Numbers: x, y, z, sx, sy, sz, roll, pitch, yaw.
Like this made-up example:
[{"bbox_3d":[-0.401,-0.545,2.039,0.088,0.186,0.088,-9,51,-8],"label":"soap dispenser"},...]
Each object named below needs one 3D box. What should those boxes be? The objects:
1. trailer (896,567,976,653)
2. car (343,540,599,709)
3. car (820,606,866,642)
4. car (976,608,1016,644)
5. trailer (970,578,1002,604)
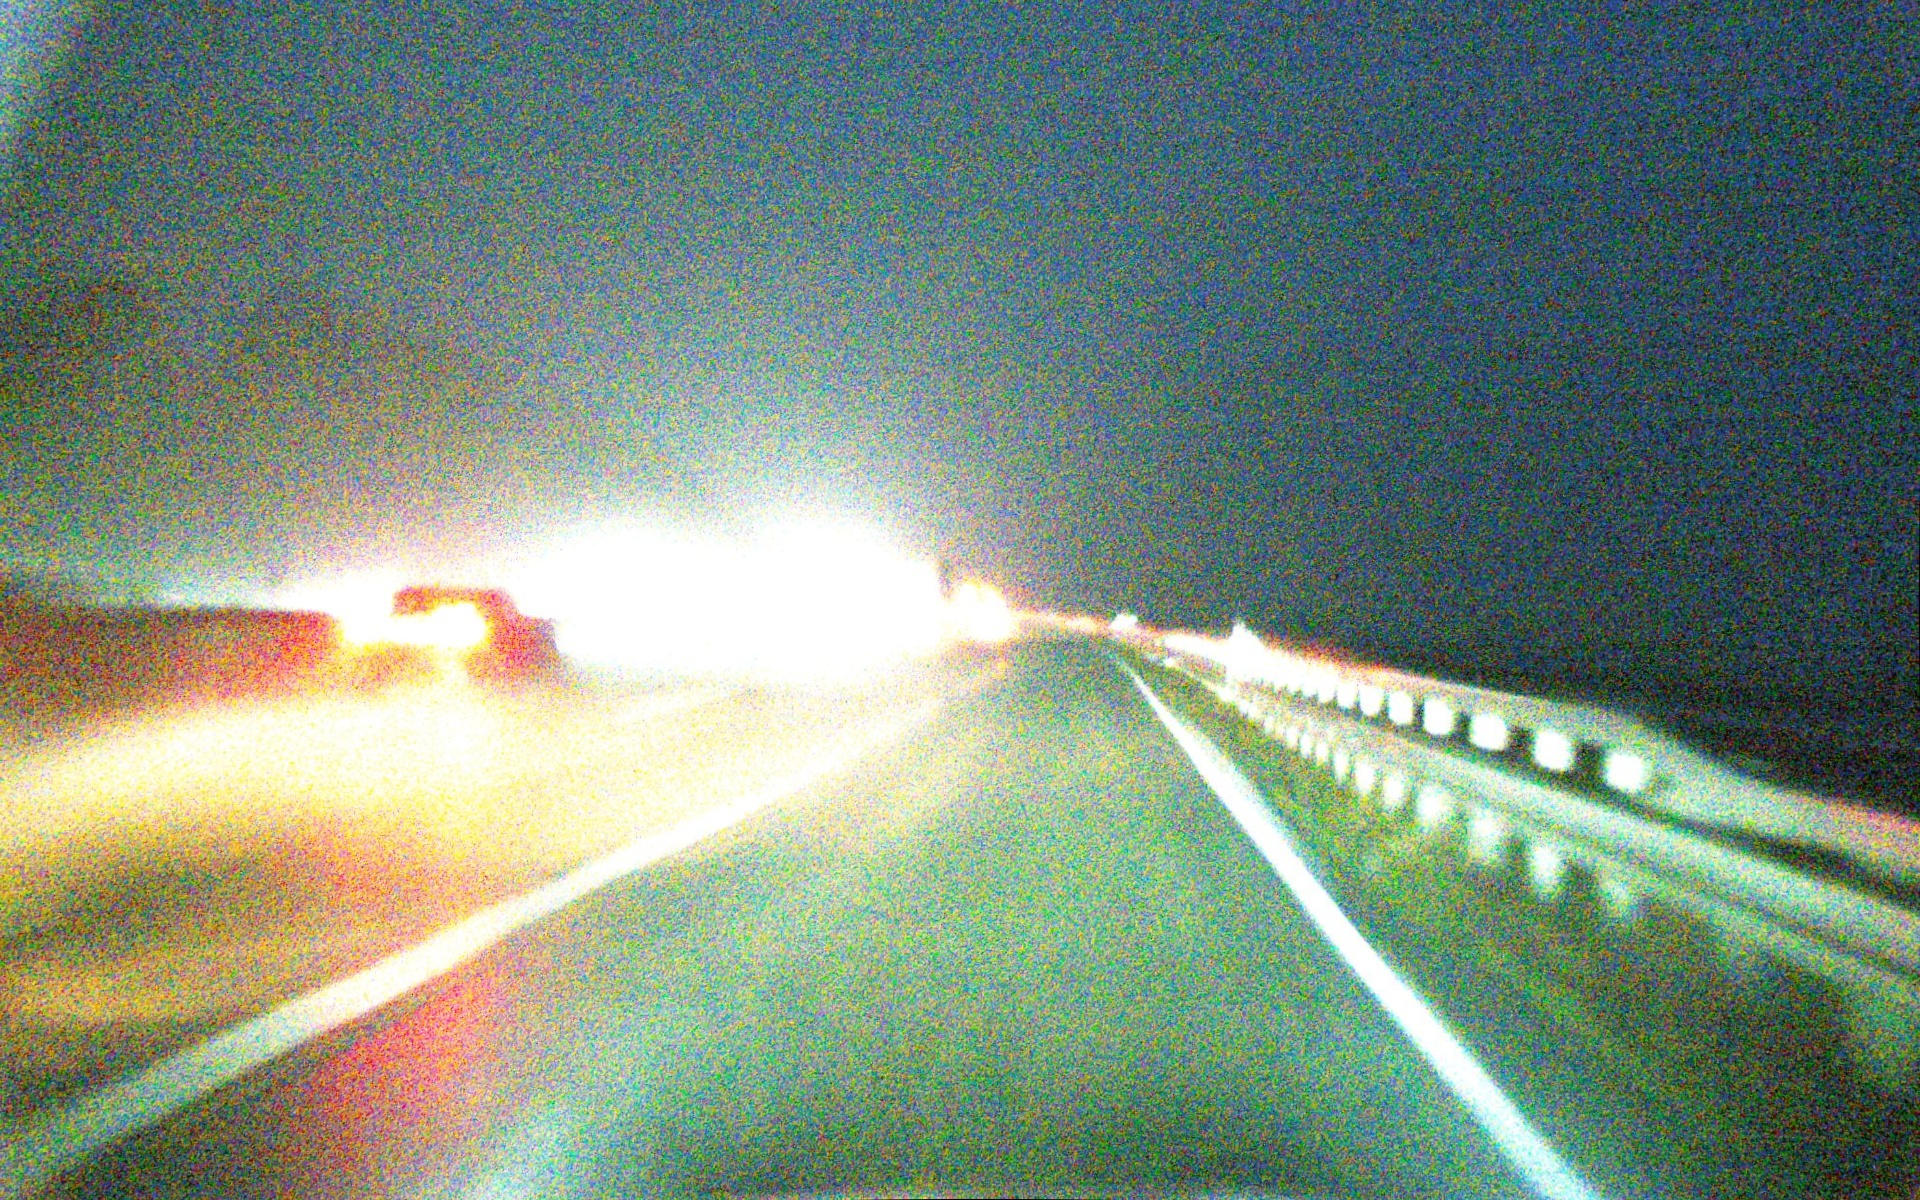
[{"bbox_3d":[-1.046,0.550,83.791,2.538,3.789,13.659,5,0,4],"label":"trailer"},{"bbox_3d":[-6.879,0.336,23.866,1.952,2.048,4.569,4,0,3],"label":"car"},{"bbox_3d":[-6.012,1.221,85.383,1.953,1.646,4.000,4,0,1],"label":"car"},{"bbox_3d":[2.115,1.510,96.104,1.952,1.850,4.002,4,0,5],"label":"car"},{"bbox_3d":[3.290,-1.046,205.942,2.631,2.746,12.865,4,0,6],"label":"trailer"}]
